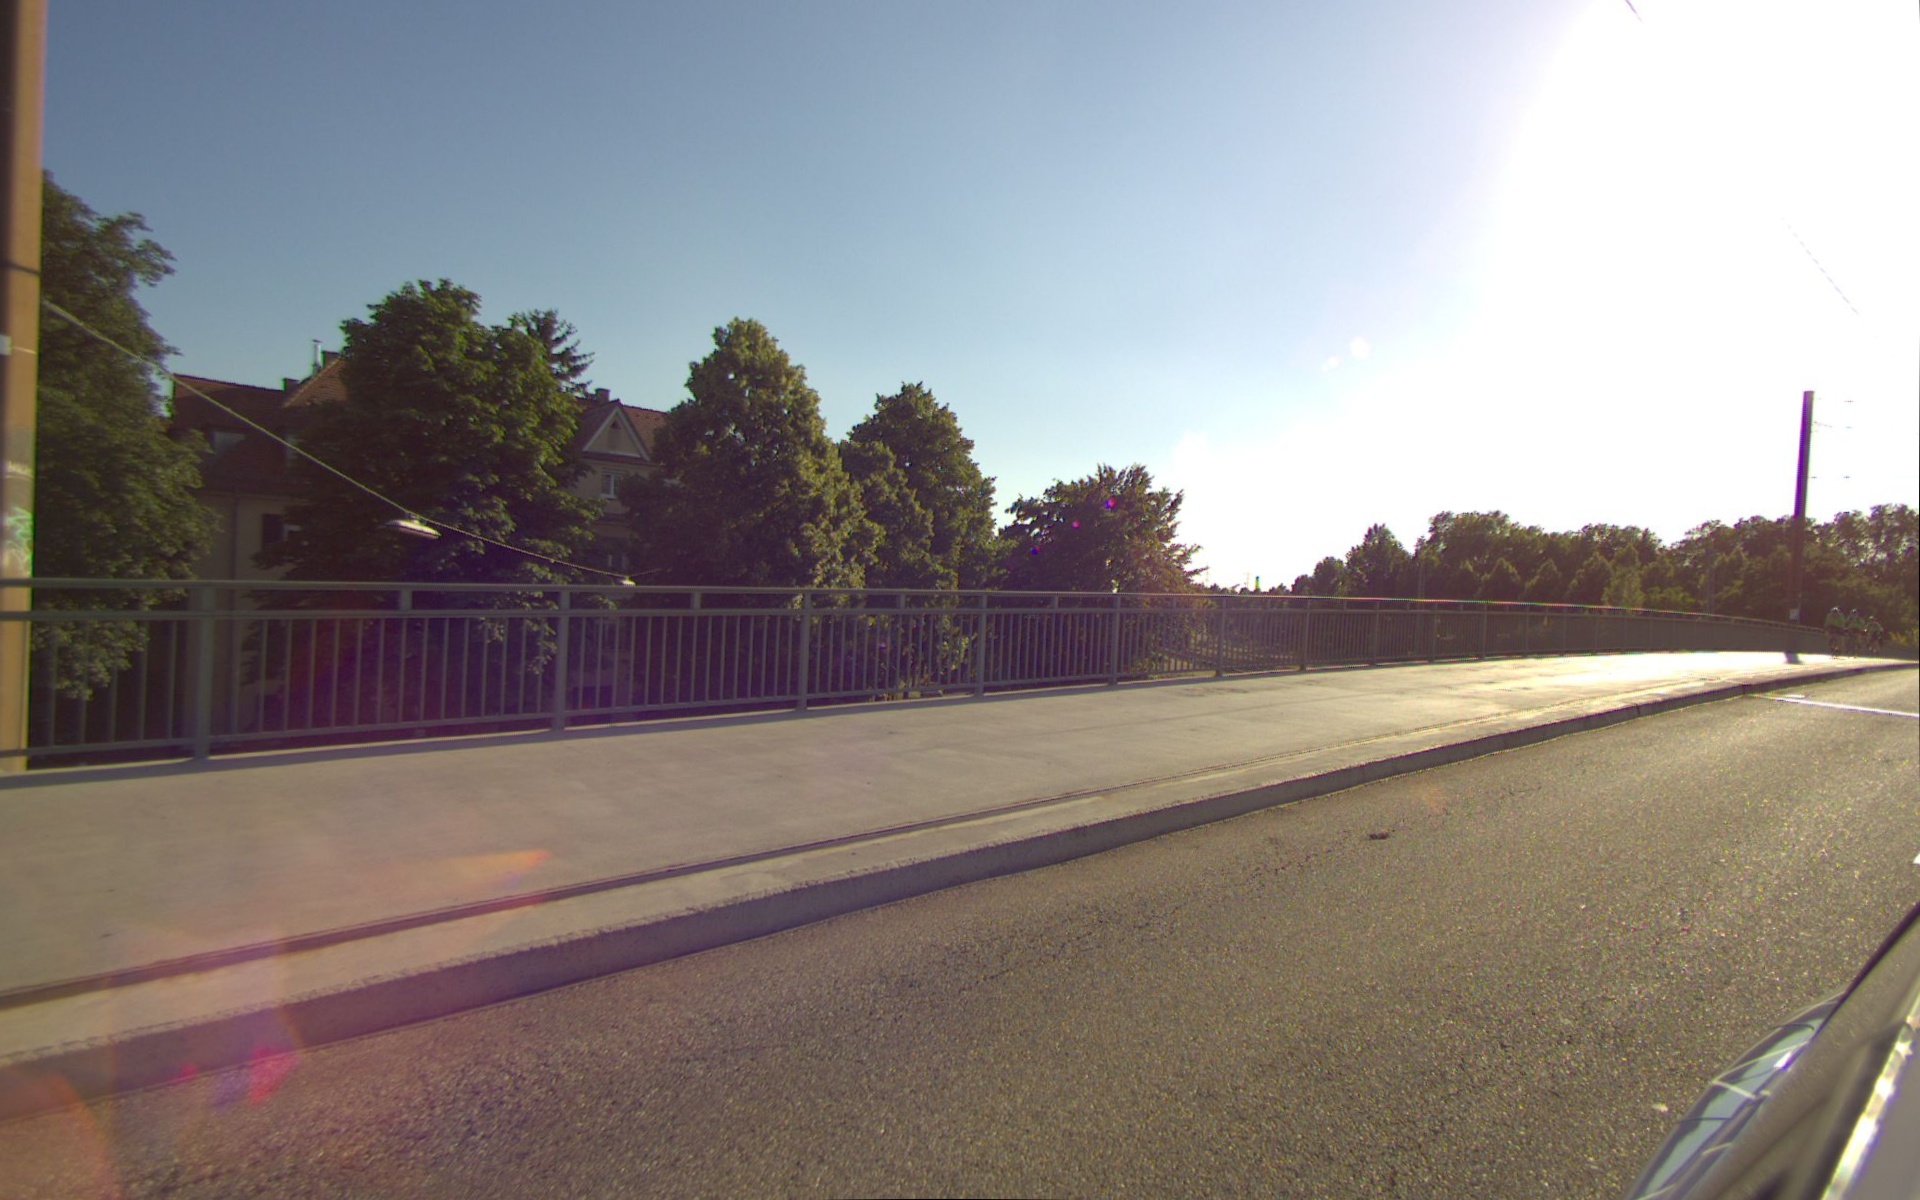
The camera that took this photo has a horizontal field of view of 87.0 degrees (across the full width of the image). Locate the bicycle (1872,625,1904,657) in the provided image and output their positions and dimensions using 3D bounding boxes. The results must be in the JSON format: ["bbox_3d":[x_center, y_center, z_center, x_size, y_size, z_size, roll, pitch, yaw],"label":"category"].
[{"bbox_3d":[36.089,1.595,39.329,2.177,1.137,0.684,4,-2,-42],"label":"bicycle"}]

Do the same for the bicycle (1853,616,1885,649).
[{"bbox_3d":[33.003,1.176,36.736,2.006,1.137,0.626,2,-1,-42],"label":"bicycle"}]

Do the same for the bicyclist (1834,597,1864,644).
[{"bbox_3d":[29.938,0.700,34.090,0.988,1.527,0.626,3,-1,-42],"label":"bicyclist"}]

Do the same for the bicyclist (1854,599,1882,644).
[{"bbox_3d":[32.979,0.773,36.758,0.914,1.613,0.626,2,-1,-41],"label":"bicyclist"}]

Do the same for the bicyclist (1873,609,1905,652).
[{"bbox_3d":[36.127,1.186,39.345,0.881,1.582,0.813,4,-2,-41],"label":"bicyclist"}]

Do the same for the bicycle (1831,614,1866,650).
[{"bbox_3d":[29.948,1.086,34.113,2.220,1.137,0.626,3,-1,-42],"label":"bicycle"}]
